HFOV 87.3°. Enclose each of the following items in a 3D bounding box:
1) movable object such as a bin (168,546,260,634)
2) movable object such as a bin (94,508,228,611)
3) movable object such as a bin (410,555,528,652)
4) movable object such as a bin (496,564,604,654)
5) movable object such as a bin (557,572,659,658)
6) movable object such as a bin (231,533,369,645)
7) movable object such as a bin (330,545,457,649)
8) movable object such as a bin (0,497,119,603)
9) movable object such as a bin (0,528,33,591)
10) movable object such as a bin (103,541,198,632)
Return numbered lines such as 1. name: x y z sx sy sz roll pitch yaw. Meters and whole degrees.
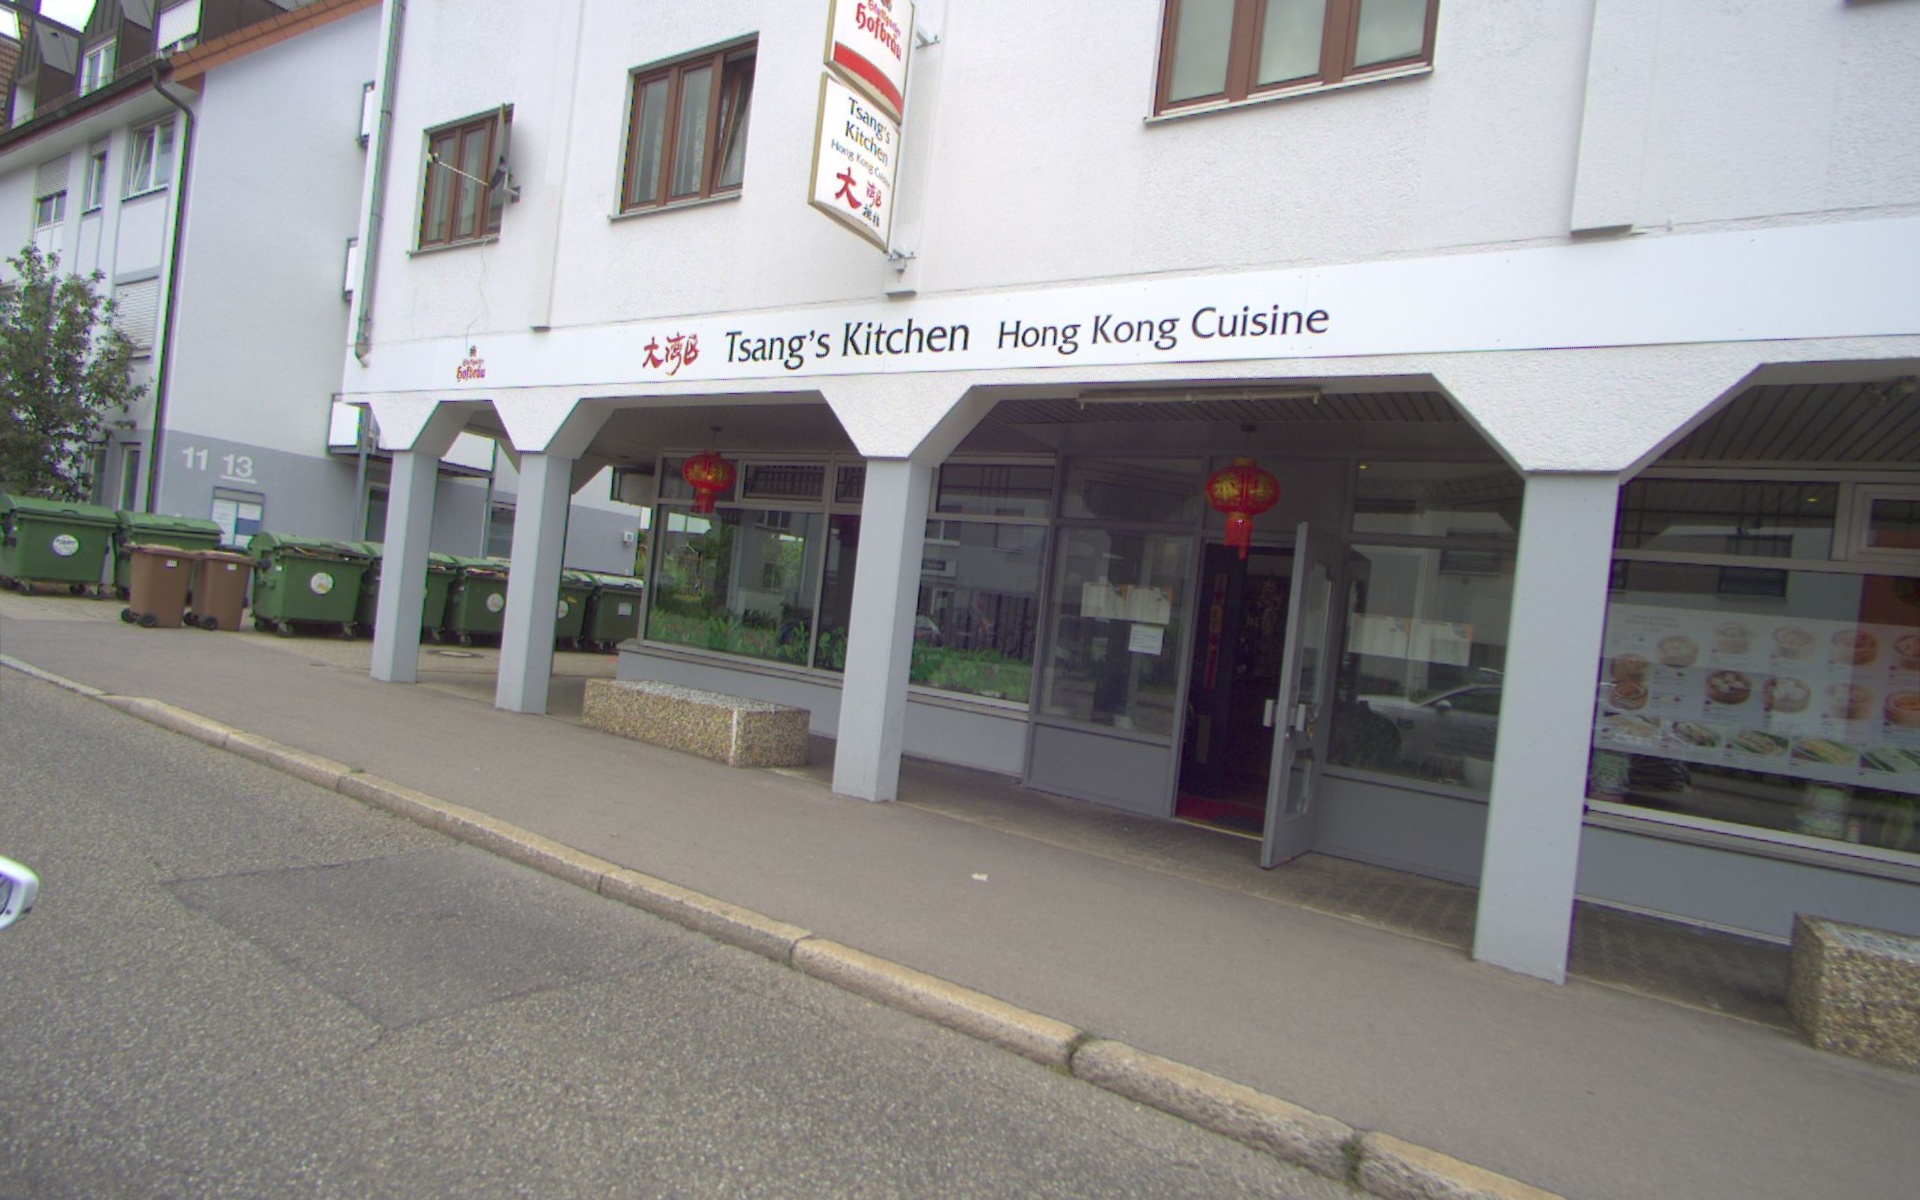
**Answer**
1. movable object such as a bin: -10.430 -0.136 14.063 0.956 1.092 0.698 7 0 36
2. movable object such as a bin: -13.112 -0.654 16.521 1.286 1.452 1.269 7 0 32
3. movable object such as a bin: -8.243 0.064 16.907 1.239 1.434 1.210 7 0 35
4. movable object such as a bin: -7.419 0.169 18.200 1.239 1.434 1.210 7 0 35
5. movable object such as a bin: -6.724 0.295 19.231 1.239 1.434 1.210 7 0 35
6. movable object such as a bin: -9.634 -0.153 14.692 1.239 1.434 1.210 7 0 35
7. movable object such as a bin: -8.915 -0.042 15.848 1.239 1.434 1.210 7 0 35
8. movable object such as a bin: -14.045 -0.775 15.510 1.143 1.434 1.269 7 0 32
9. movable object such as a bin: -14.886 -0.639 15.707 0.457 0.932 0.430 7 0 32
10. movable object such as a bin: -10.830 -0.186 13.453 0.956 1.080 0.683 7 0 36
